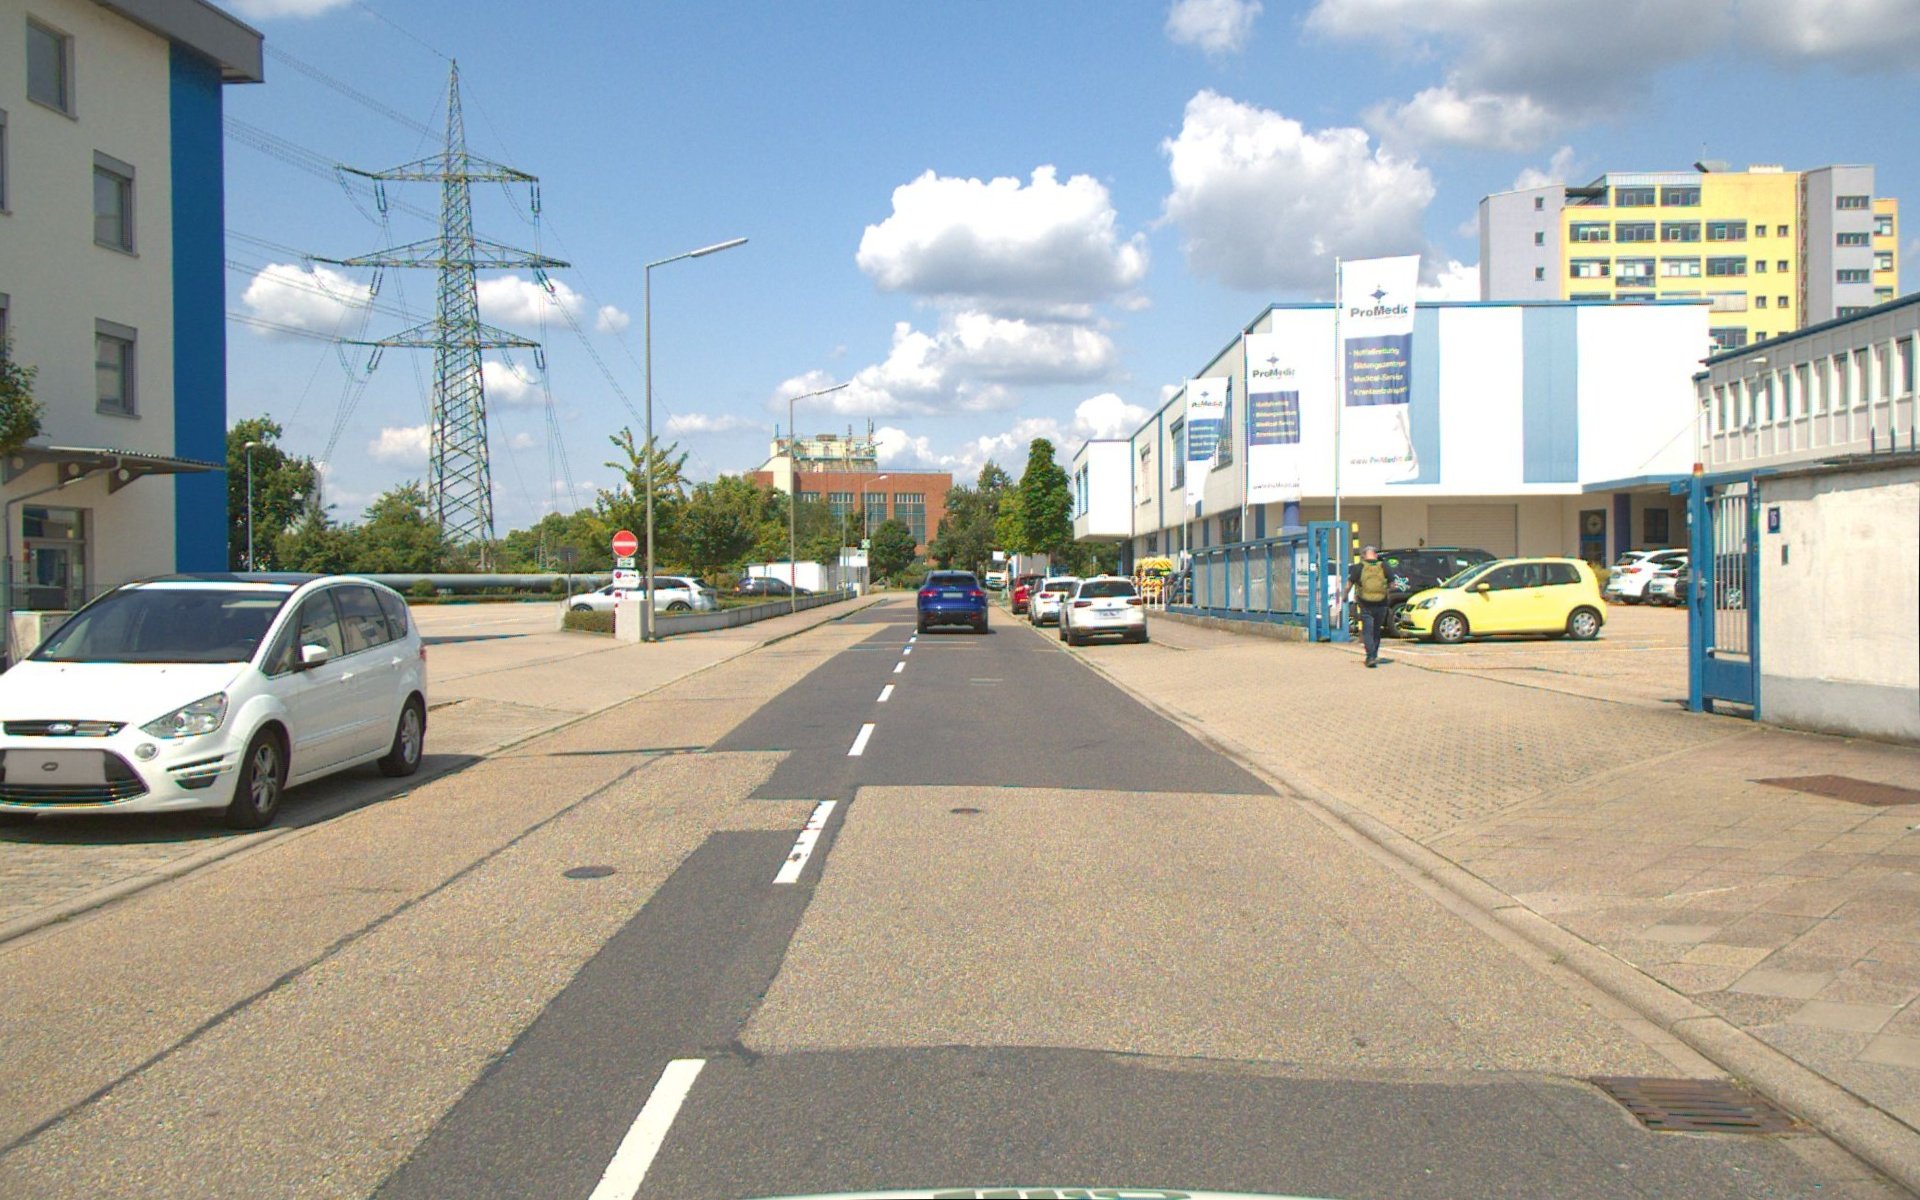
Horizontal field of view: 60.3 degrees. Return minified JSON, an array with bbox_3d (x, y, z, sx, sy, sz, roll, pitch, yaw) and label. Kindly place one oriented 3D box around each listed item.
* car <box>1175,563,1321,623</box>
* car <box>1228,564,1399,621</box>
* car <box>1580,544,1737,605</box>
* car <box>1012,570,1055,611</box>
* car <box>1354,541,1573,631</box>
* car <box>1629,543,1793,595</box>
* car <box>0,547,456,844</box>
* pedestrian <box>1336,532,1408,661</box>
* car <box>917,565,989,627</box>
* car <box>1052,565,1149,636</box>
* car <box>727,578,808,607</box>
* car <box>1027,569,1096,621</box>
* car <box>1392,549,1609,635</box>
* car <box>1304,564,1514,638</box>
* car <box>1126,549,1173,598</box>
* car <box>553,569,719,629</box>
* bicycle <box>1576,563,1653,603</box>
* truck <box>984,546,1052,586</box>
[{"bbox_3d":[8.606,-0.225,49.599,4.001,1.715,1.999,0,1,-2],"label":"car"},{"bbox_3d":[9.511,-0.219,44.709,4.191,1.445,2.000,-1,1,0],"label":"car"},{"bbox_3d":[20.959,-0.773,49.744,3.975,1.770,1.806,-1,1,-1],"label":"car"},{"bbox_3d":[3.091,-0.429,70.269,1.718,1.679,4.678,0,1,1],"label":"car"},{"bbox_3d":[9.780,-0.279,32.300,3.729,1.709,1.791,0,0,-1],"label":"car"},{"bbox_3d":[21.552,-0.898,47.567,3.906,1.424,1.806,-1,1,-1],"label":"car"},{"bbox_3d":[-5.303,0.536,12.084,1.829,1.738,4.752,1,1,-1],"label":"car"},{"bbox_3d":[5.889,-0.055,23.674,0.754,1.787,0.787,-2,0,-1],"label":"pedestrian"},{"bbox_3d":[-0.211,-0.131,45.318,1.871,1.621,4.701,0,1,-1],"label":"car"},{"bbox_3d":[3.225,-0.010,38.723,1.829,1.547,4.597,0,1,-1],"label":"car"},{"bbox_3d":[-9.787,-0.406,84.382,3.905,1.400,1.803,-1,1,-1],"label":"car"},{"bbox_3d":[3.116,-0.175,51.434,1.798,1.547,4.460,0,1,-1],"label":"car"},{"bbox_3d":[9.731,-0.151,29.949,3.334,1.516,1.791,0,0,-1],"label":"car"},{"bbox_3d":[9.426,0.004,34.947,3.905,1.445,2.000,-1,1,0],"label":"car"},{"bbox_3d":[10.006,-1.395,87.837,1.884,2.507,5.259,0,0,0],"label":"car"},{"bbox_3d":[-9.778,-0.051,50.258,4.661,1.630,1.999,-2,1,-4],"label":"car"},{"bbox_3d":[20.605,-0.536,52.094,2.178,1.233,0.641,-1,1,-1],"label":"bicycle"},{"bbox_3d":[5.546,-3.235,156.673,2.278,3.629,9.350,2,2,30],"label":"truck"}]
